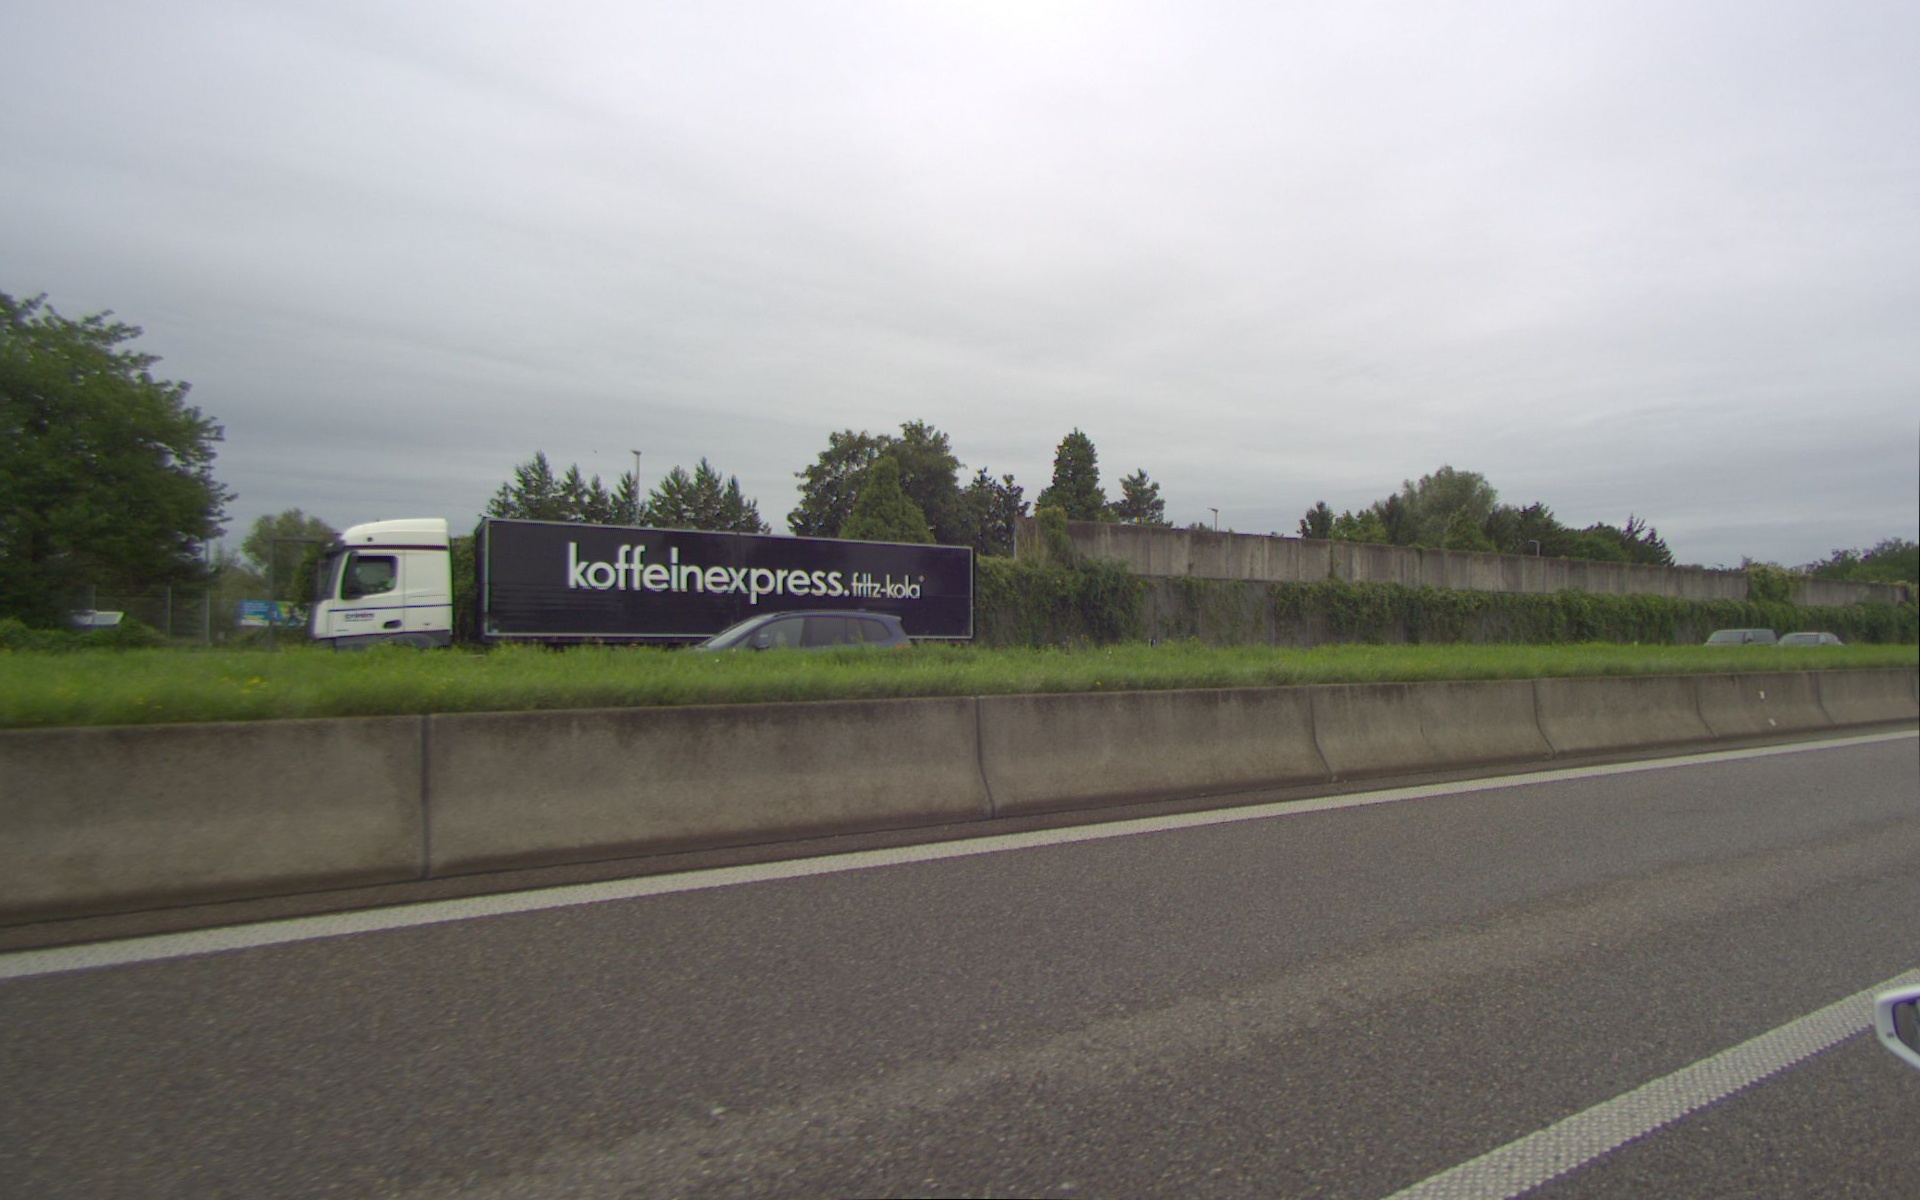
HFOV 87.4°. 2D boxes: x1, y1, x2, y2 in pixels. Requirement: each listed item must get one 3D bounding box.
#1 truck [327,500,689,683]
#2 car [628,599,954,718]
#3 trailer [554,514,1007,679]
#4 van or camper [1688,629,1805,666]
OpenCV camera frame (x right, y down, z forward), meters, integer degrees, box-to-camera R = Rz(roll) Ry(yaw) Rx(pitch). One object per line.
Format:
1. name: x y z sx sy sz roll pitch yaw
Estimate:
1. truck: -9.216 -0.080 20.903 6.504 3.316 2.305 2 0 -30
2. car: -2.619 0.855 15.868 4.686 1.630 1.984 1 -1 -30
3. trailer: -3.923 0.066 23.949 10.436 3.333 2.296 2 0 -30
4. van or camper: 42.934 2.568 54.732 8.341 1.824 2.180 2 0 -31
